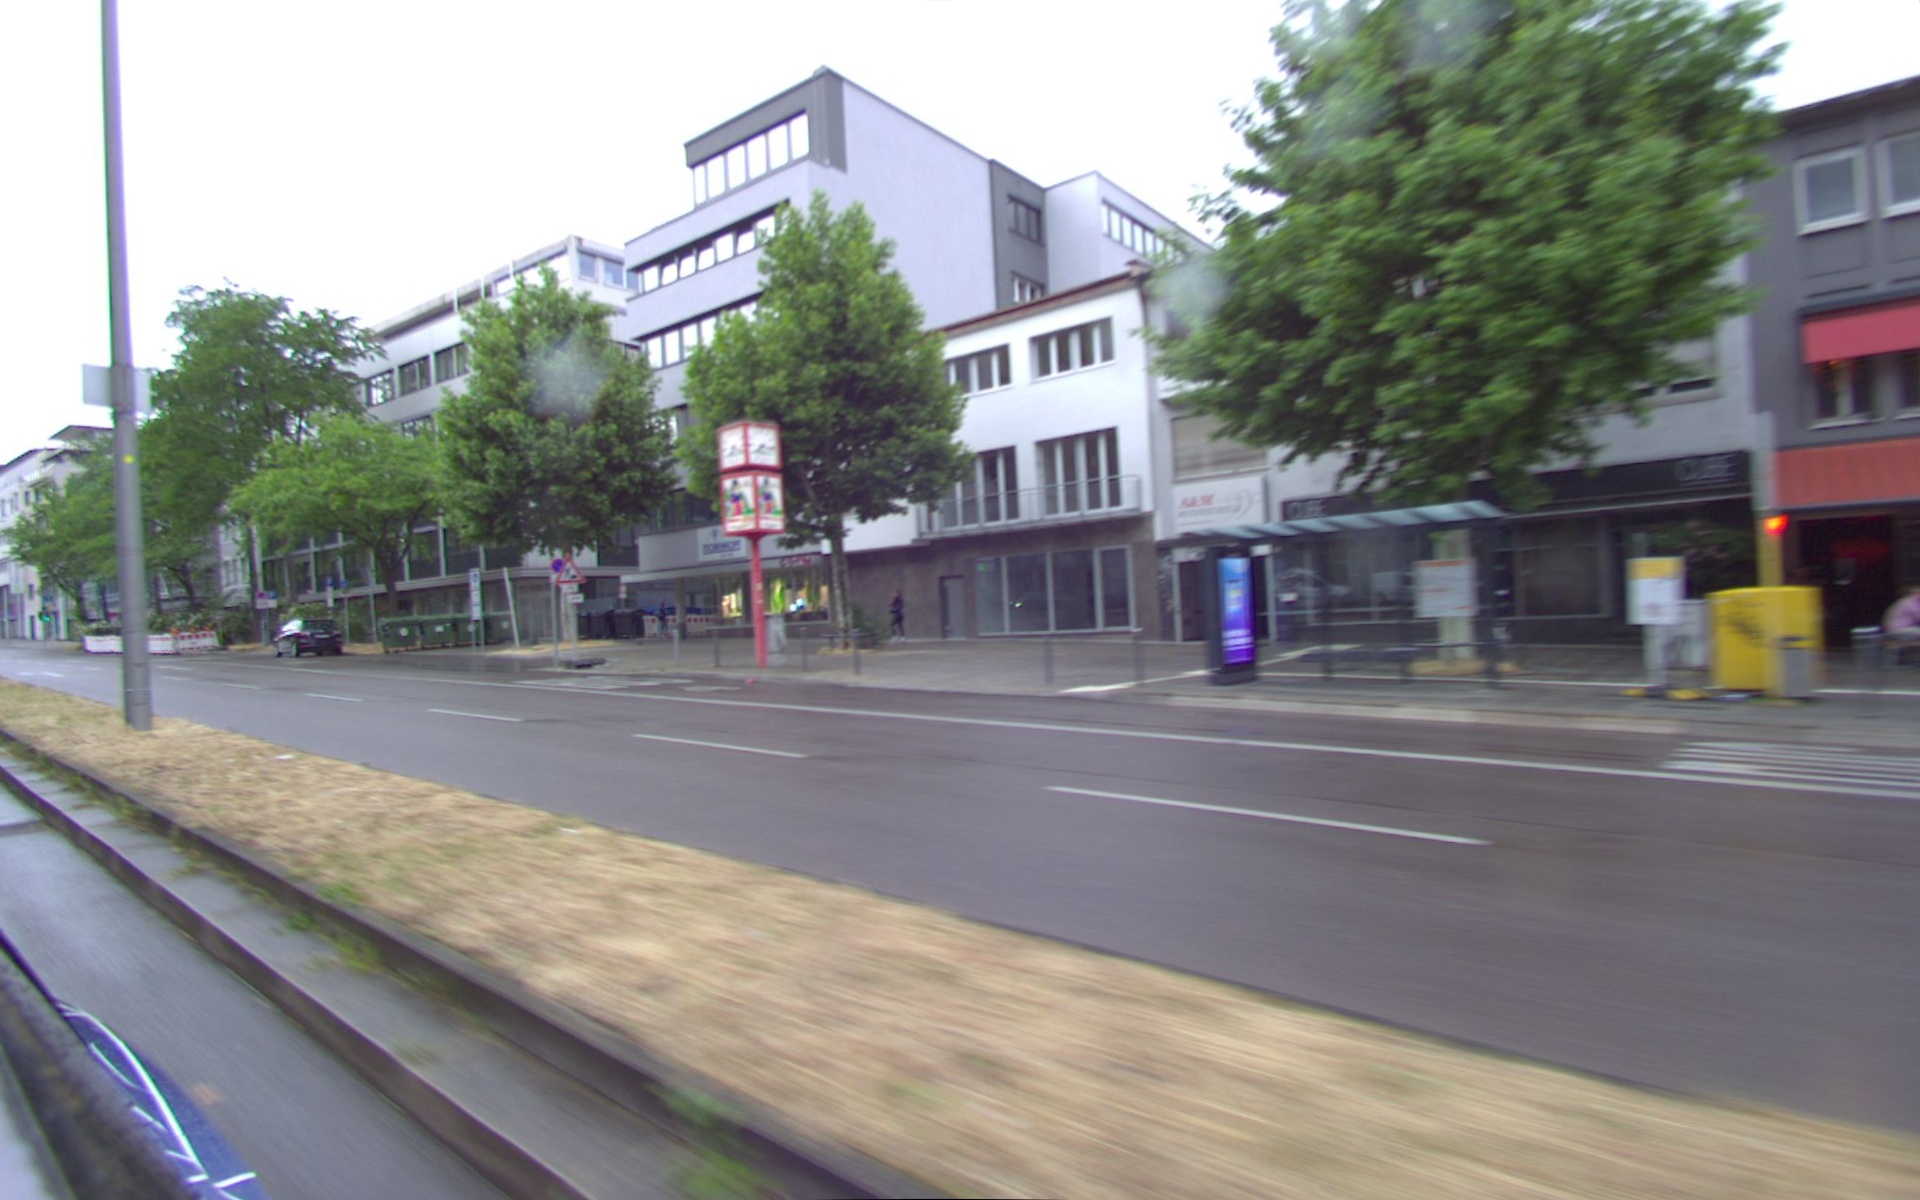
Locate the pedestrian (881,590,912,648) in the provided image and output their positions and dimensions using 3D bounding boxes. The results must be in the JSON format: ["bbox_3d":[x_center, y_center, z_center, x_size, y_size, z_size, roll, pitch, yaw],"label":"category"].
[{"bbox_3d":[-1.973,0.590,31.606,0.653,1.776,0.688,-2,-1,43],"label":"pedestrian"}]

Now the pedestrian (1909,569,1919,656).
[{"bbox_3d":[16.521,0.198,17.122,0.546,1.461,0.683,-2,-1,37],"label":"pedestrian"}]

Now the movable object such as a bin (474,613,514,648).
[{"bbox_3d":[-20.684,1.363,44.957,1.088,1.499,1.265,-2,-1,41],"label":"movable object such as a bin"}]

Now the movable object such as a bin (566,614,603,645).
[{"bbox_3d":[-18.313,1.425,49.357,1.278,1.446,1.077,-2,-1,32],"label":"movable object such as a bin"}]

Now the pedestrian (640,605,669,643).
[{"bbox_3d":[-14.070,1.117,46.575,0.870,1.701,0.885,-2,-1,36],"label":"pedestrian"}]

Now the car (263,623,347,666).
[{"bbox_3d":[-27.385,1.870,42.289,4.019,1.648,1.761,-3,-1,39],"label":"car"}]

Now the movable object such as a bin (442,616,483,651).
[{"bbox_3d":[-21.575,1.449,43.904,1.088,1.437,1.265,-2,-1,41],"label":"movable object such as a bin"}]

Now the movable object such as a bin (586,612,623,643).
[{"bbox_3d":[-17.029,1.327,48.499,1.278,1.446,1.077,-2,-1,32],"label":"movable object such as a bin"}]

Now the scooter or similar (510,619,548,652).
[{"bbox_3d":[-16.435,1.359,38.599,1.323,1.130,0.767,-6,-1,42],"label":"scooter or similar"}]

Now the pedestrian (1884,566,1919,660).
[{"bbox_3d":[15.216,0.193,15.899,0.912,1.461,0.683,-2,-1,37],"label":"pedestrian"}]

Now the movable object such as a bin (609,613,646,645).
[{"bbox_3d":[-15.726,1.374,47.904,1.278,1.446,1.077,-2,-1,32],"label":"movable object such as a bin"}]

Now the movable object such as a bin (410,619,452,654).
[{"bbox_3d":[-22.413,1.542,42.862,1.088,1.437,1.265,-2,-1,41],"label":"movable object such as a bin"}]

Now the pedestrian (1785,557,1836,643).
[{"bbox_3d":[15.995,0.009,19.040,0.603,1.582,0.591,-2,-1,31],"label":"pedestrian"}]

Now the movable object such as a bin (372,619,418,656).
[{"bbox_3d":[-23.327,1.548,41.772,1.088,1.437,1.345,-2,-1,41],"label":"movable object such as a bin"}]
